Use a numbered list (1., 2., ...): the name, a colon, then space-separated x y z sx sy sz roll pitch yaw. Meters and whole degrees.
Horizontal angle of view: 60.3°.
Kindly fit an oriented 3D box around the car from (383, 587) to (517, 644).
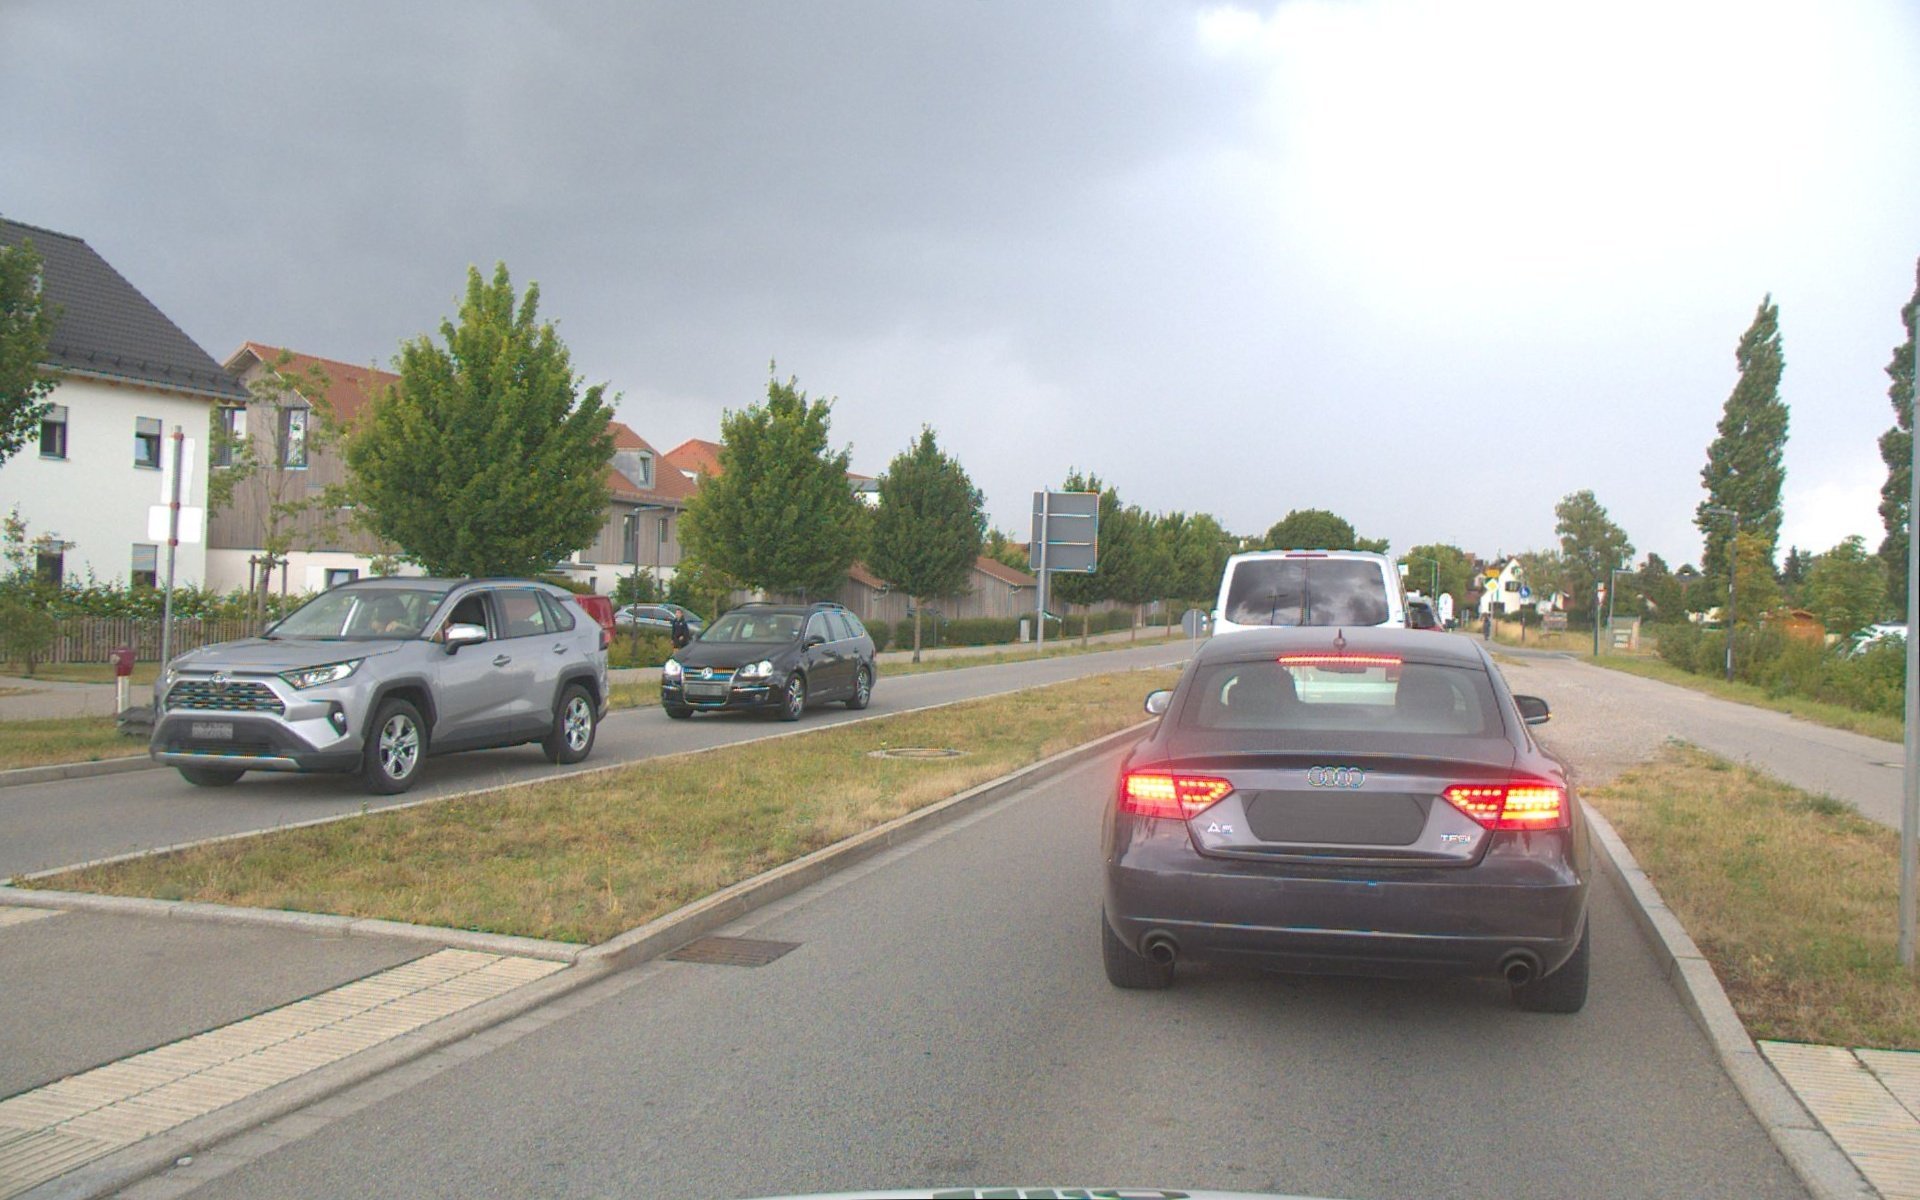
1. car: -17.173 0.546 55.926 1.952 1.803 4.466 2 0 20

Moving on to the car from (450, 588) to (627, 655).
1. car: -11.900 0.589 46.748 4.436 1.709 2.001 2 0 19

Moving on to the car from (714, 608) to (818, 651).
1. car: -7.574 1.138 64.635 3.650 1.508 1.688 2 0 13

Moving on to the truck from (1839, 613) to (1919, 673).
1. truck: 32.068 1.475 54.850 4.694 1.905 2.002 2 0 11

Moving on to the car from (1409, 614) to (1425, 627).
1. car: 48.272 2.111 174.659 1.579 1.294 3.463 2 0 16

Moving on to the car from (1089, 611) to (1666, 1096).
1. car: 1.776 0.792 7.285 1.746 1.416 4.136 2 0 13

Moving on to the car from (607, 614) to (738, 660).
1. car: -9.552 1.199 55.003 3.831 1.338 1.844 2 0 13

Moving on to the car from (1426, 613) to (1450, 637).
1. car: 34.278 1.795 118.587 1.579 1.659 3.618 2 0 16

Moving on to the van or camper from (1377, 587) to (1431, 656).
1. van or camper: 23.329 1.169 86.955 2.569 3.382 6.825 2 -1 15

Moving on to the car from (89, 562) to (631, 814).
1. car: -4.723 0.624 13.907 1.951 1.733 4.638 0 0 16

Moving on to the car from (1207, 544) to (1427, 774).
1. car: 3.538 0.527 16.300 1.827 1.968 4.003 -1 0 13

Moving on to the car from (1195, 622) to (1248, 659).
1. car: 11.266 1.723 71.066 1.694 1.434 4.208 2 0 17

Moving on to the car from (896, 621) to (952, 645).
1. car: -1.701 1.562 78.600 2.419 1.046 1.186 2 0 10

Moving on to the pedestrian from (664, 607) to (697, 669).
1. pedestrian: -7.257 0.986 42.985 0.569 1.586 0.660 2 0 14

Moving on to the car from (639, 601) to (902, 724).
1. car: -2.385 0.760 22.068 1.717 1.441 4.457 1 0 19

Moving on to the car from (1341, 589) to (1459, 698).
1. car: 7.393 0.687 27.805 1.739 1.646 4.003 2 0 15
